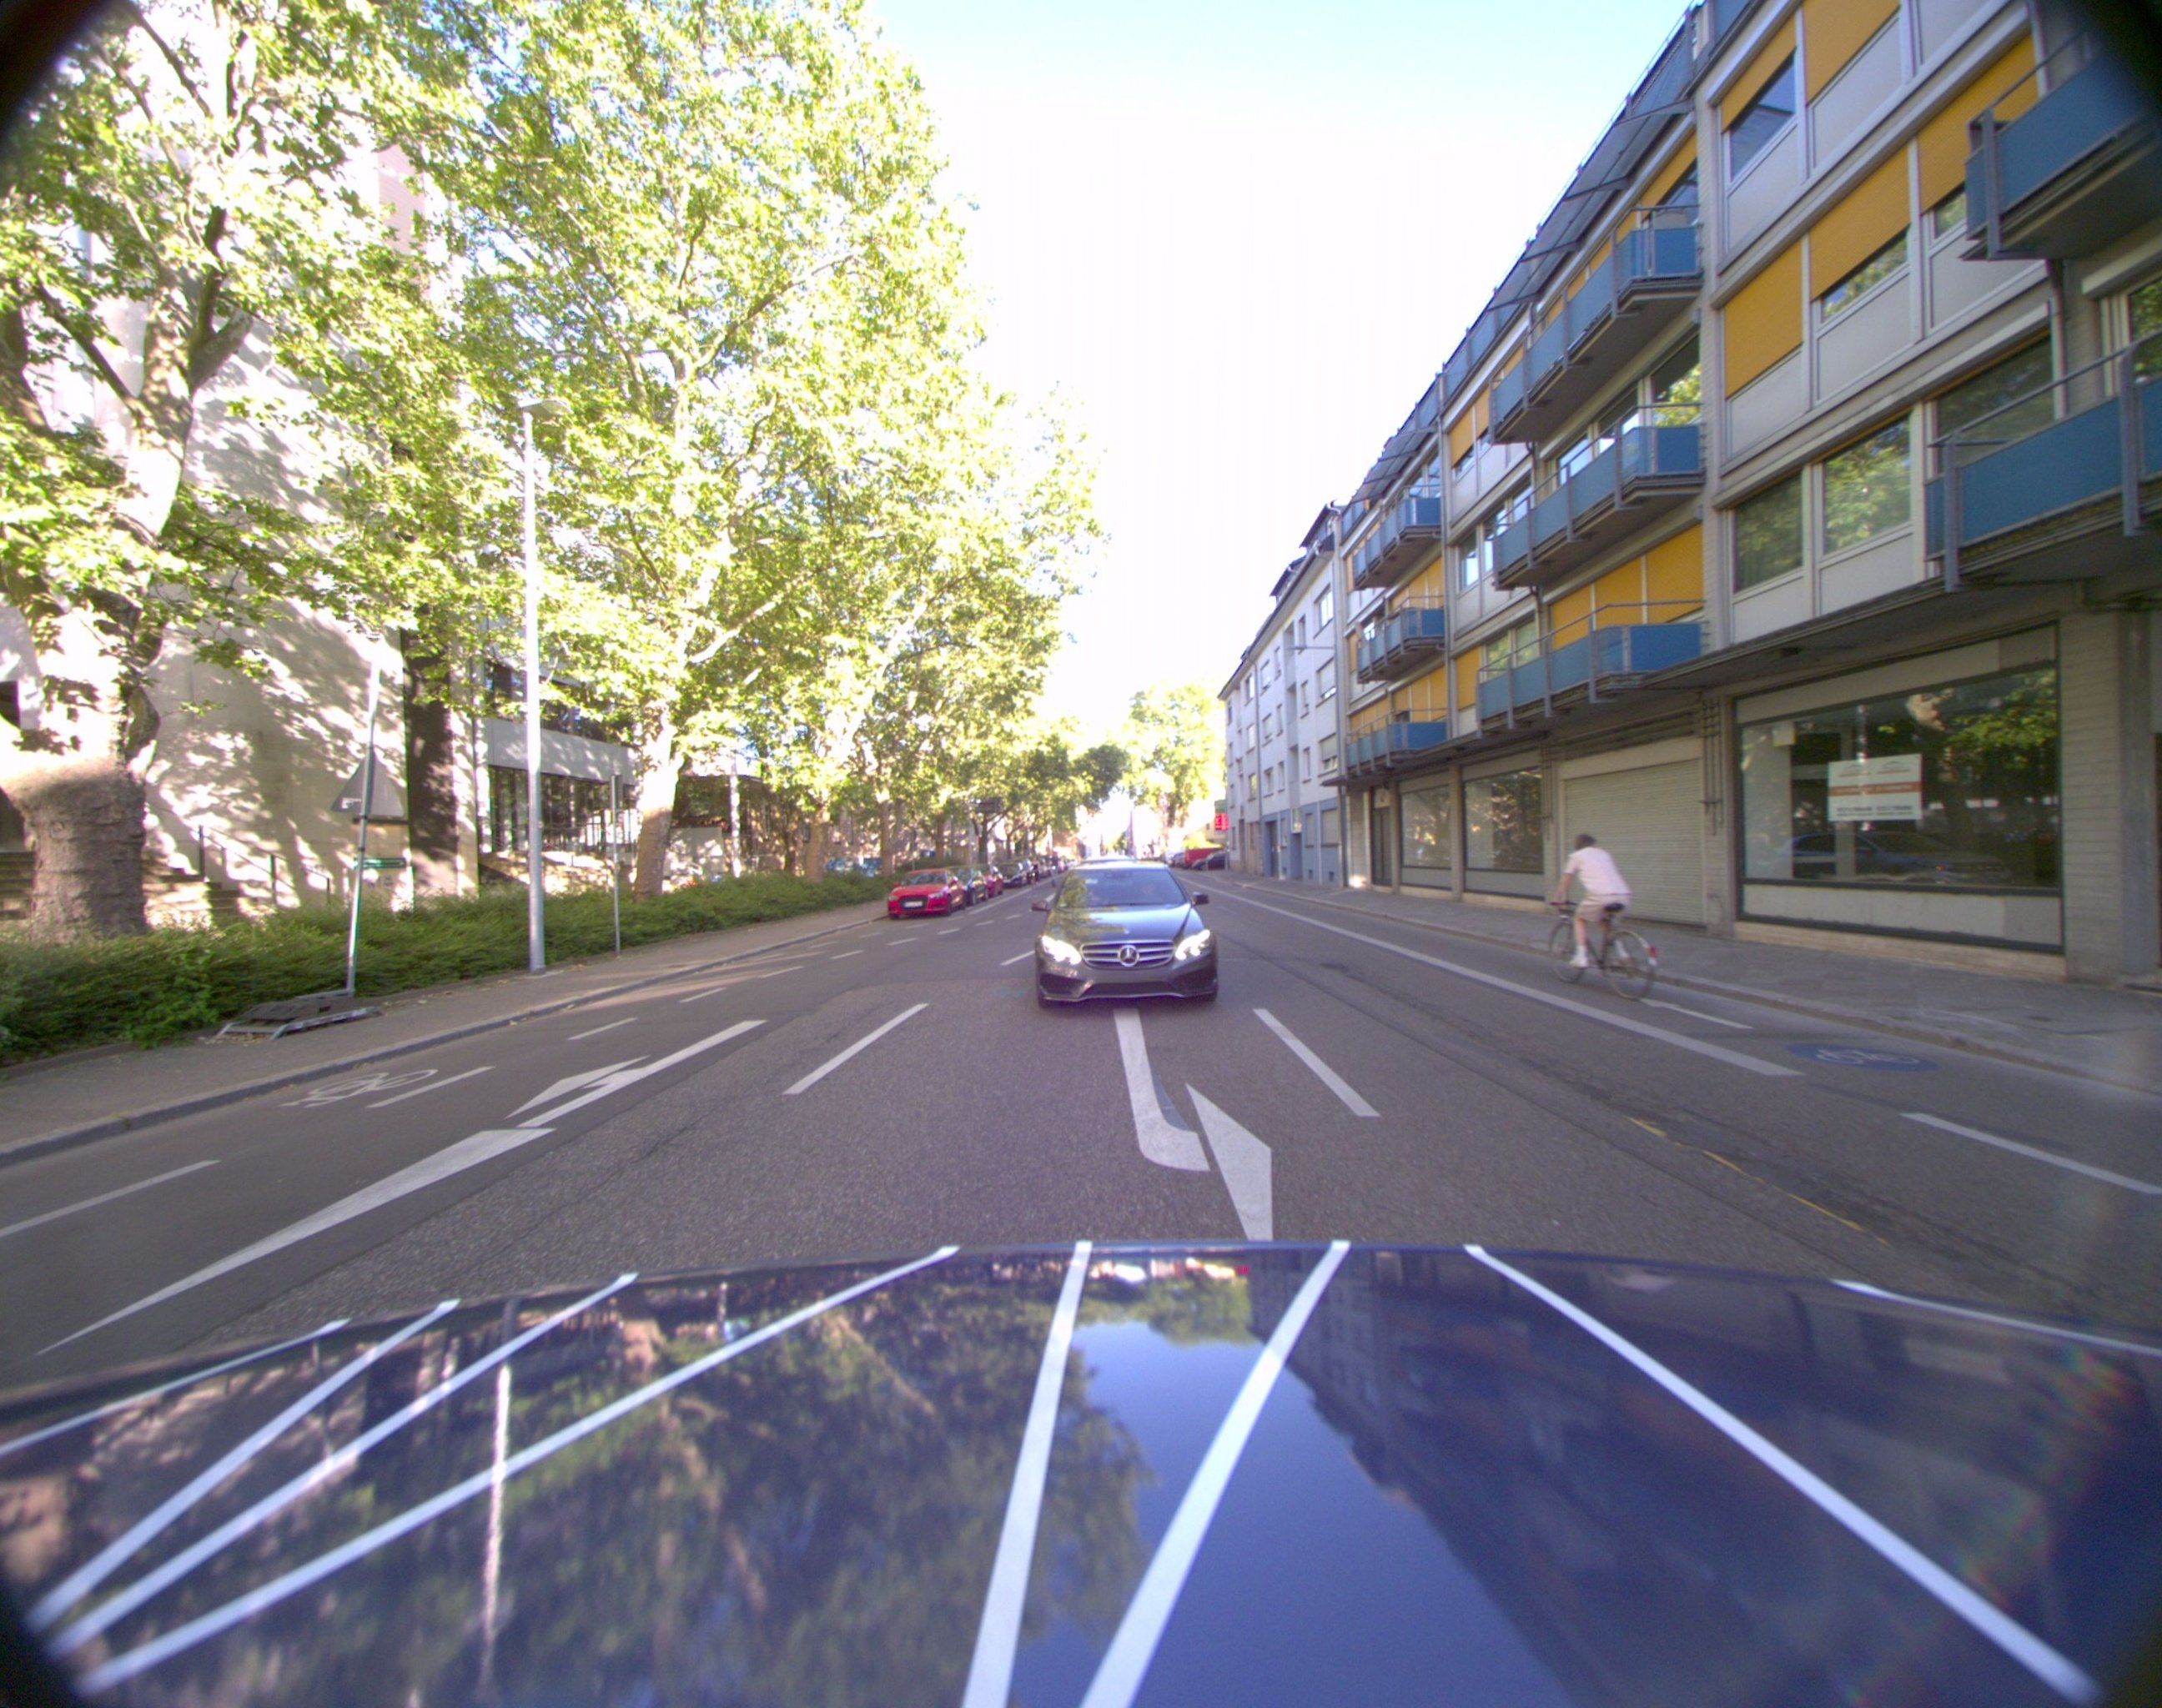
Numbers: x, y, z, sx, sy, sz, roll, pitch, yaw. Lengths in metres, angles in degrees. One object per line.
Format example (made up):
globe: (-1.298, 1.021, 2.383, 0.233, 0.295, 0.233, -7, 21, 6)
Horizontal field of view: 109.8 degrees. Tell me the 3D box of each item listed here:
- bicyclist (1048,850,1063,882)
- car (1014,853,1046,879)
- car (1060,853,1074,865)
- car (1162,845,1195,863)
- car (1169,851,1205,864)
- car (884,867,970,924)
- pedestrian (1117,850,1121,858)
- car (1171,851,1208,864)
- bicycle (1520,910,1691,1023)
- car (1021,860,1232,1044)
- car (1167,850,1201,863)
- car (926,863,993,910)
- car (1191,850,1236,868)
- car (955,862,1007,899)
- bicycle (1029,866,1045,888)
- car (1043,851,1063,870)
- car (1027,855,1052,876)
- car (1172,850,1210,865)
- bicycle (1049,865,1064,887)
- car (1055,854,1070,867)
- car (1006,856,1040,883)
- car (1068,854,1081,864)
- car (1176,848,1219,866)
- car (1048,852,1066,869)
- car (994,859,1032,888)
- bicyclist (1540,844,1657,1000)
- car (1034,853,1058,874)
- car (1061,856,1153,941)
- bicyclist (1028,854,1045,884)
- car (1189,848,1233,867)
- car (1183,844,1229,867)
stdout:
bicyclist: (-1.373, 0.641, 41.036, 0.755, 1.714, 0.768, -3, 1, 0)
car: (-3.560, 0.813, 54.107, 1.819, 1.758, 4.431, -2, 0, 1)
car: (-1.860, 0.663, 101.585, 1.686, 1.546, 3.837, -2, 0, 1)
car: (12.203, -0.007, 94.939, 3.905, 2.164, 1.725, -3, 1, 3)
car: (12.198, 0.364, 87.759, 3.905, 1.325, 1.525, -3, 1, 3)
car: (-4.671, 1.216, 23.590, 1.724, 1.412, 4.031, -4, 0, 1)
pedestrian: (9.547, -0.055, 192.358, 0.884, 2.108, 0.821, -3, 1, 2)
car: (12.144, 0.389, 85.371, 3.905, 1.325, 1.525, -3, 1, 3)
bicycle: (5.486, 1.128, 8.096, 0.549, 0.886, 1.868, -3, 1, 2)
car: (0.439, 0.901, 8.968, 1.828, 1.495, 4.294, -3, 1, 1)
car: (12.260, 0.298, 90.444, 3.782, 1.432, 1.539, -3, 1, 3)
car: (-4.463, 1.157, 28.347, 1.686, 1.458, 4.000, -3, 0, 1)
car: (11.187, 0.410, 64.371, 3.598, 1.401, 1.535, -3, 0, 3)
car: (-4.362, 1.125, 33.531, 1.666, 1.426, 3.781, -2, 0, 1)
bicycle: (-2.360, 1.212, 40.601, 0.667, 1.093, 1.814, -3, 1, 1)
car: (-2.802, 0.642, 76.136, 1.645, 1.839, 3.837, -2, 0, 1)
car: (-3.271, 0.920, 60.427, 1.686, 1.552, 3.868, -2, 0, 1)
car: (11.976, 0.389, 82.619, 3.905, 1.366, 1.595, -3, 1, 3)
bicycle: (-1.328, 1.197, 41.105, 0.667, 1.093, 1.814, -3, 1, 1)
car: (-2.283, 0.807, 92.968, 1.639, 1.493, 3.753, -2, 0, 1)
car: (-3.618, 0.945, 47.981, 1.686, 1.610, 3.837, -2, 0, 1)
car: (-0.987, 0.717, 112.714, 1.686, 1.475, 3.837, -2, 0, 1)
car: (11.094, 0.290, 72.420, 3.905, 1.577, 1.604, -3, 1, 3)
car: (-2.539, 0.691, 81.924, 1.686, 1.749, 3.837, -2, 0, 1)
car: (-3.833, 1.083, 43.324, 1.686, 1.443, 4.000, -2, 0, 1)
bicyclist: (5.467, 0.683, 8.070, 0.650, 1.549, 0.807, -3, 1, 1)
car: (-2.972, 0.799, 65.279, 1.663, 1.704, 3.837, -2, 0, 1)
car: (0.542, 0.874, 17.010, 1.732, 1.538, 4.294, -3, 1, 1)
bicyclist: (-2.383, 0.799, 40.609, 0.755, 1.512, 0.768, -3, 1, 0)
car: (11.401, 0.310, 66.773, 3.667, 1.501, 1.602, -3, 1, 3)
car: (11.399, 0.121, 69.618, 3.905, 1.895, 1.749, -2, 0, 3)
